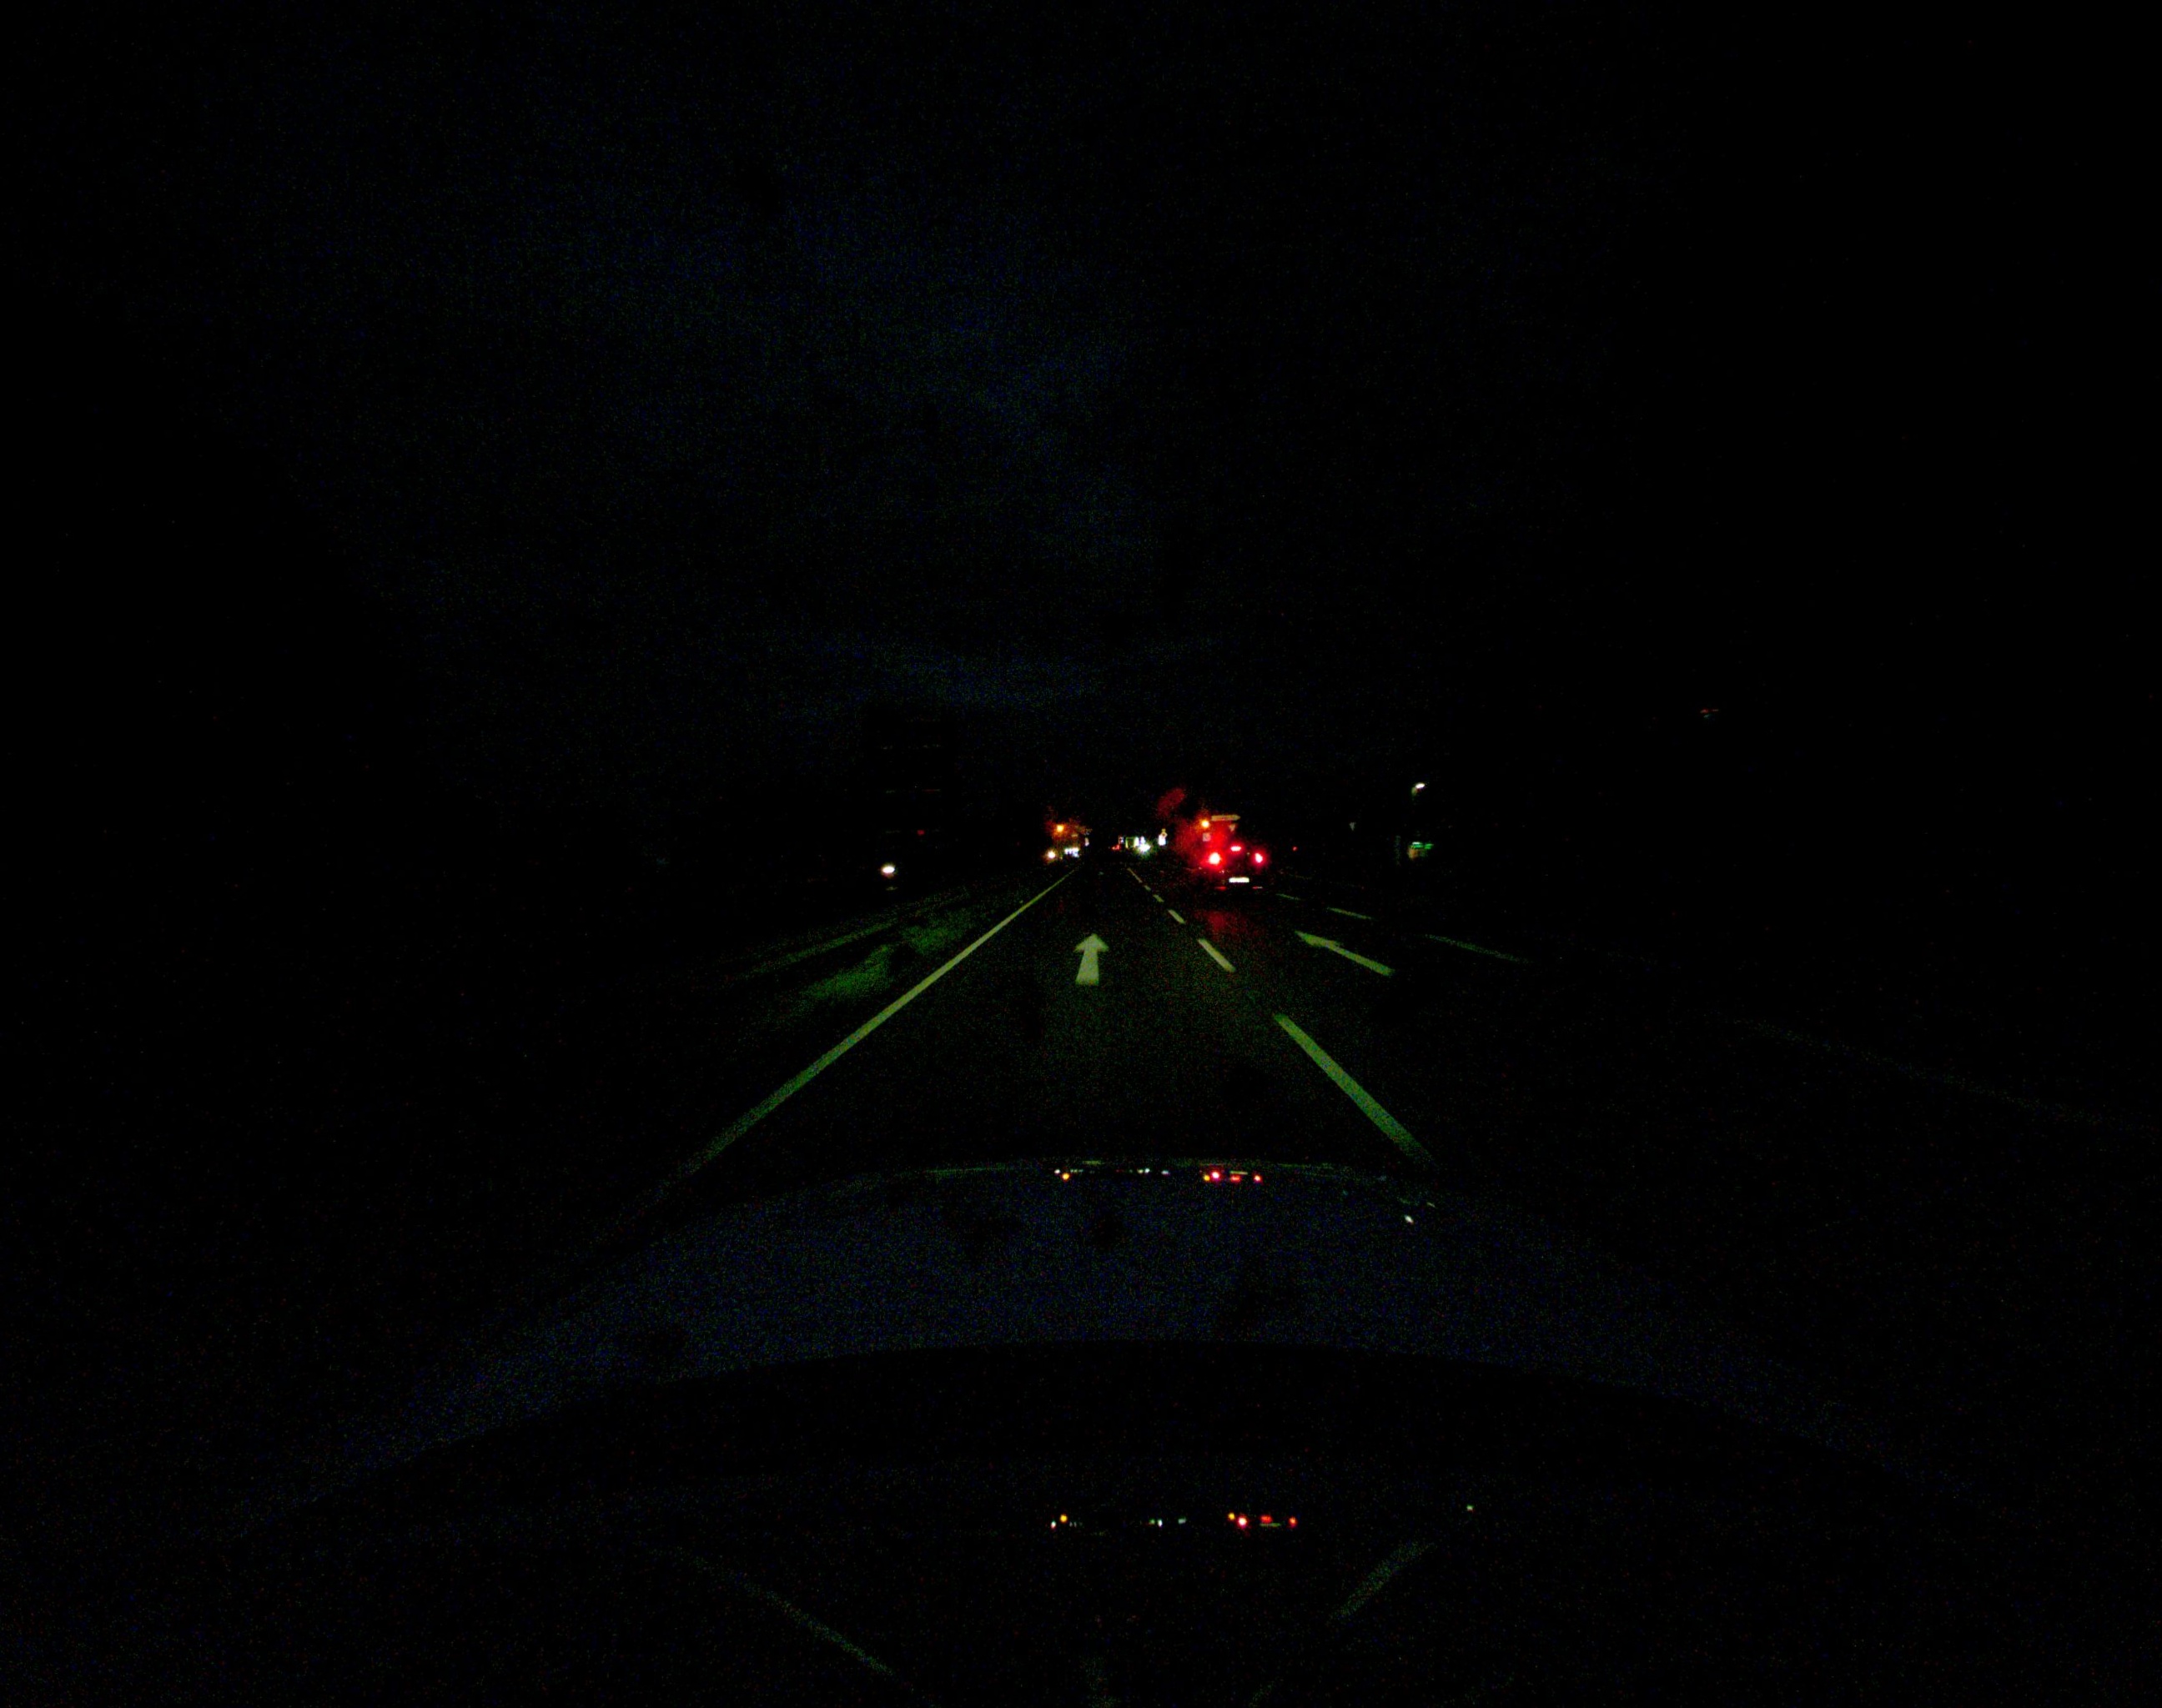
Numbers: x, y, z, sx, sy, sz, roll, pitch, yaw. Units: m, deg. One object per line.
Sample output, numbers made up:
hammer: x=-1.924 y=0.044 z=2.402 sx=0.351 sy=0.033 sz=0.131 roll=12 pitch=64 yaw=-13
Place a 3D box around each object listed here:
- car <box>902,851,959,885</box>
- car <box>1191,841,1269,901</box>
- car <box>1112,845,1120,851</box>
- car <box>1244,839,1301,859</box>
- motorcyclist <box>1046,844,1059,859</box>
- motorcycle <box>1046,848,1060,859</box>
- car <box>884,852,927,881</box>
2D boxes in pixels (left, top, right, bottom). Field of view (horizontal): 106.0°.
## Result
car: x=-7.346 y=0.655 z=40.074 sx=1.915 sy=1.431 sz=4.500 roll=-3 pitch=1 yaw=-1
car: x=4.172 y=0.428 z=23.378 sx=1.663 sy=1.520 sz=4.109 roll=-1 pitch=0 yaw=3
car: x=10.073 y=-1.849 z=236.074 sx=2.266 sy=1.632 sz=4.000 roll=-2 pitch=0 yaw=1
car: x=16.857 y=-0.476 z=71.897 sx=4.583 sy=1.520 sz=2.001 roll=-3 pitch=0 yaw=1
motorcyclist: x=-3.069 y=-0.294 z=88.672 sx=1.130 sy=1.584 sz=0.975 roll=-3 pitch=0 yaw=8
motorcycle: x=-3.028 y=-0.047 z=88.782 sx=0.973 sy=1.098 sz=2.515 roll=-3 pitch=1 yaw=9
car: x=-11.078 y=0.743 z=51.706 sx=1.789 sy=1.671 sz=4.500 roll=-2 pitch=0 yaw=0
